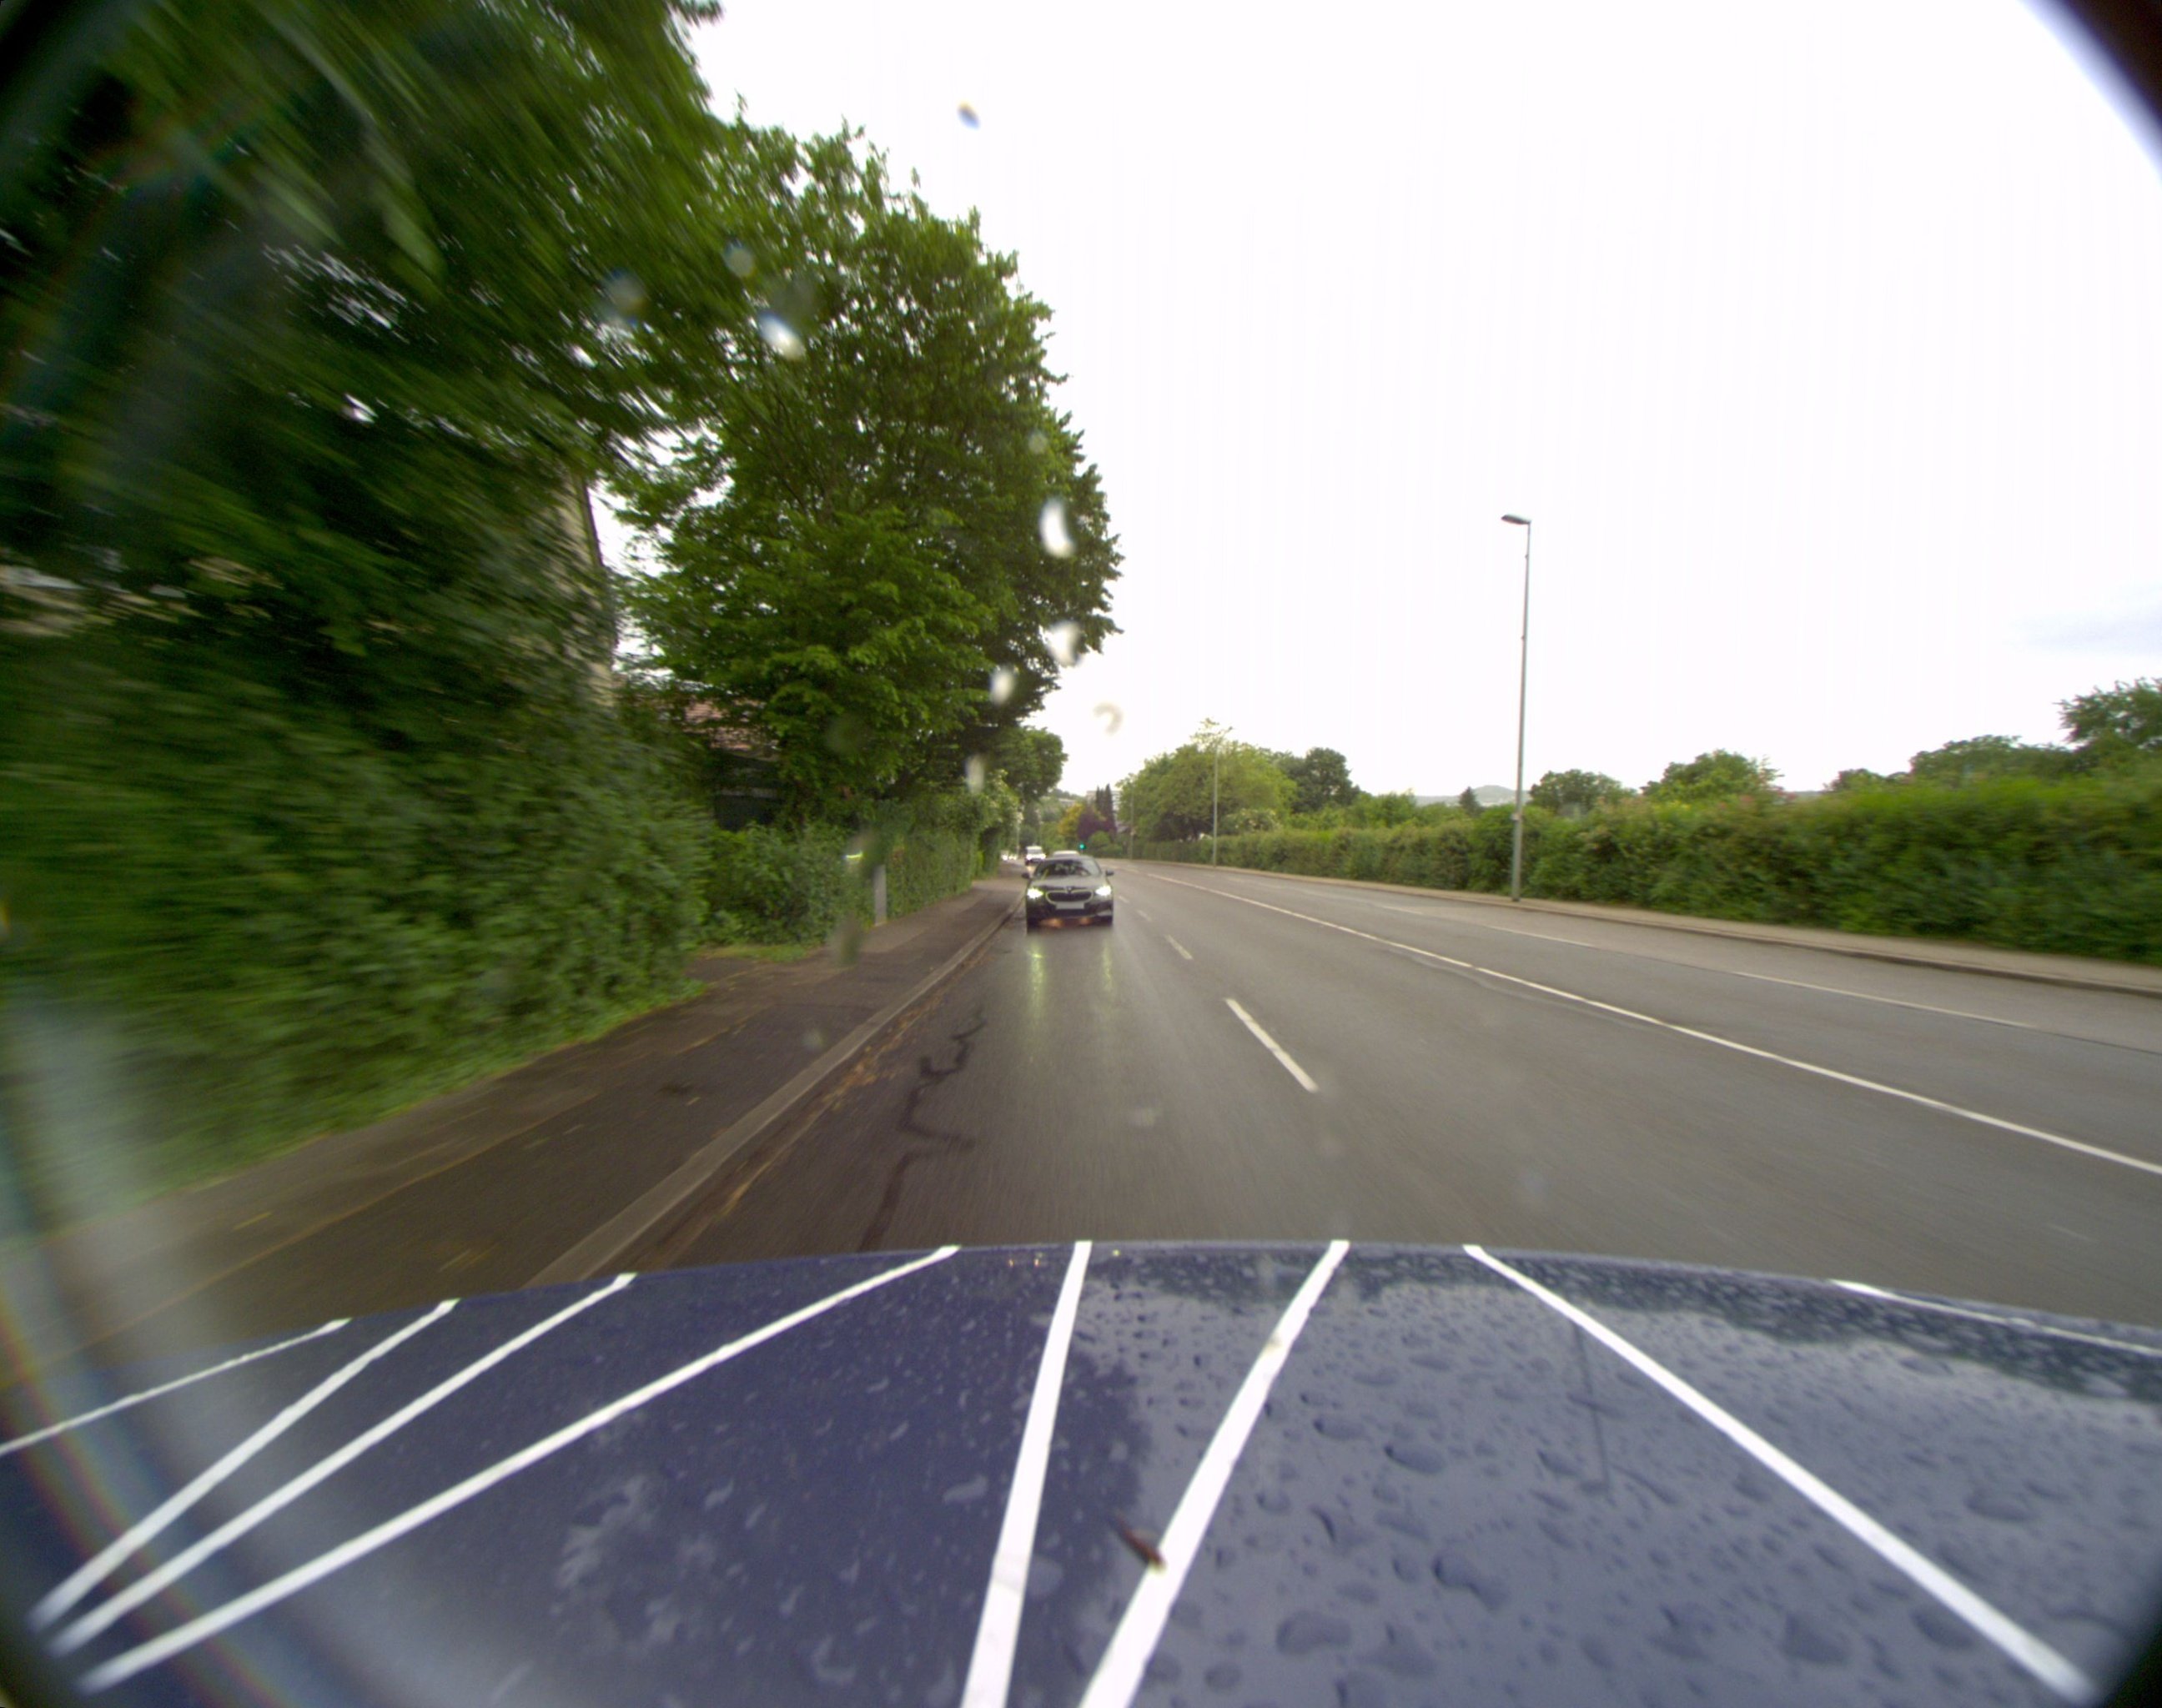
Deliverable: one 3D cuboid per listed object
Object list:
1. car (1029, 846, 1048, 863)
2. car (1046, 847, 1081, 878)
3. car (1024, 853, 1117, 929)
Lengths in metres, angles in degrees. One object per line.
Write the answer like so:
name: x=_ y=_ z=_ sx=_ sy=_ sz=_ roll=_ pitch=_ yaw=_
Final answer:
car: x=-4.271 y=-0.005 z=76.095 sx=1.704 sy=1.670 sz=4.280 roll=0 pitch=1 yaw=-6
car: x=-0.965 y=0.419 z=39.539 sx=1.551 sy=1.505 sz=4.281 roll=0 pitch=1 yaw=-4
car: x=-0.312 y=0.750 z=17.691 sx=1.846 sy=1.371 sz=4.281 roll=-3 pitch=1 yaw=-3
